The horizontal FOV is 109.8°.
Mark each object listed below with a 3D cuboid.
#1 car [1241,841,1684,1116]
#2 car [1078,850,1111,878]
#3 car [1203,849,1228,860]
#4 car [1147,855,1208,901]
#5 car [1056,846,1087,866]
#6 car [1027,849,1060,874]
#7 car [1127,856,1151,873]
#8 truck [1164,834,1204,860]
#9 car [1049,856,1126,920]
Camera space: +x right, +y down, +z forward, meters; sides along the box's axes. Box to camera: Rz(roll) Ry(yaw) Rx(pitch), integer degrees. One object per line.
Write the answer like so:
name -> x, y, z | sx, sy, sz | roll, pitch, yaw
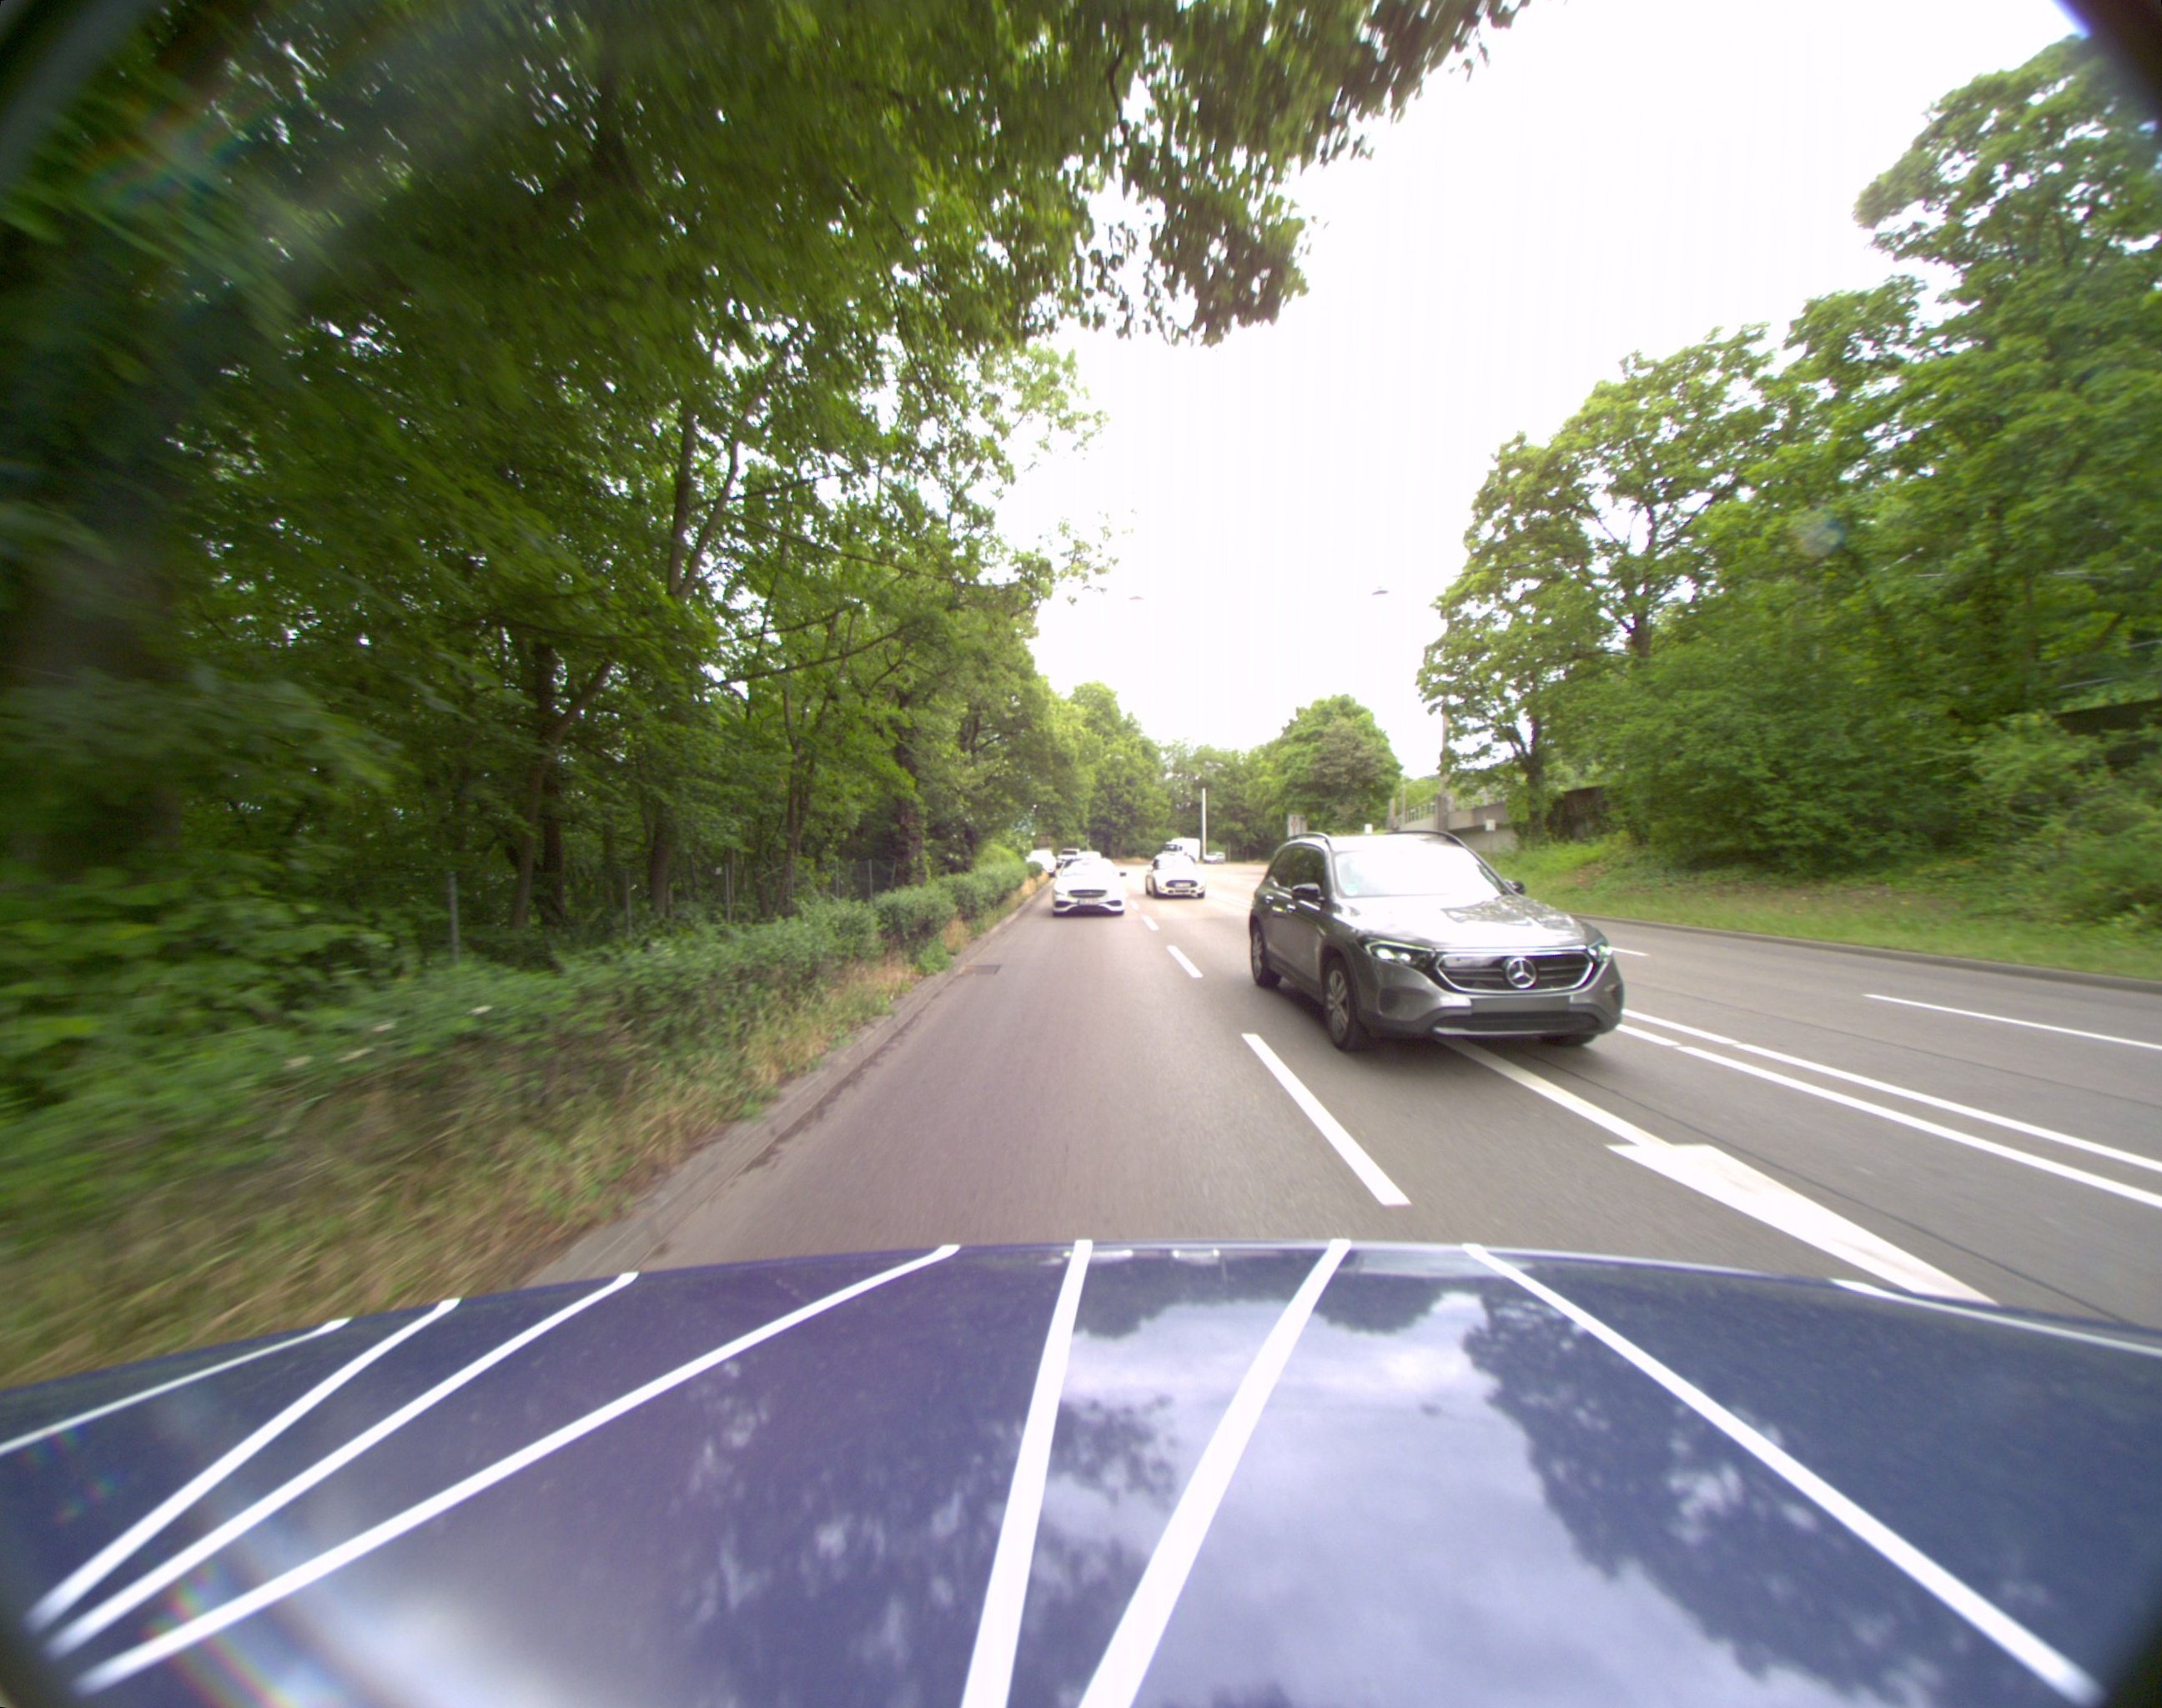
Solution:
car -> 2.775, 0.758, 6.797 | 1.854, 1.641, 4.358 | -1, 0, 2
car -> 0.766, 0.535, 44.333 | 1.755, 1.417, 4.010 | 3, 1, 0
car -> 18.270, 0.133, 103.373 | 1.751, 1.354, 4.019 | 4, 1, 35
car -> 3.282, 0.783, 26.509 | 1.688, 1.415, 3.733 | -1, 0, 1
car -> -0.768, 0.186, 62.670 | 1.754, 1.575, 4.014 | 1, 0, 11
car -> -2.307, 0.433, 47.636 | 1.765, 1.433, 3.892 | 1, 0, 1
car -> 5.052, 0.903, 65.467 | 1.662, 1.382, 4.186 | -1, 0, 9
truck -> 12.978, -0.805, 95.567 | 2.195, 3.137, 6.665 | 2, 0, 34
car -> 0.209, 0.812, 19.973 | 1.801, 1.470, 4.010 | 0, 0, 1
